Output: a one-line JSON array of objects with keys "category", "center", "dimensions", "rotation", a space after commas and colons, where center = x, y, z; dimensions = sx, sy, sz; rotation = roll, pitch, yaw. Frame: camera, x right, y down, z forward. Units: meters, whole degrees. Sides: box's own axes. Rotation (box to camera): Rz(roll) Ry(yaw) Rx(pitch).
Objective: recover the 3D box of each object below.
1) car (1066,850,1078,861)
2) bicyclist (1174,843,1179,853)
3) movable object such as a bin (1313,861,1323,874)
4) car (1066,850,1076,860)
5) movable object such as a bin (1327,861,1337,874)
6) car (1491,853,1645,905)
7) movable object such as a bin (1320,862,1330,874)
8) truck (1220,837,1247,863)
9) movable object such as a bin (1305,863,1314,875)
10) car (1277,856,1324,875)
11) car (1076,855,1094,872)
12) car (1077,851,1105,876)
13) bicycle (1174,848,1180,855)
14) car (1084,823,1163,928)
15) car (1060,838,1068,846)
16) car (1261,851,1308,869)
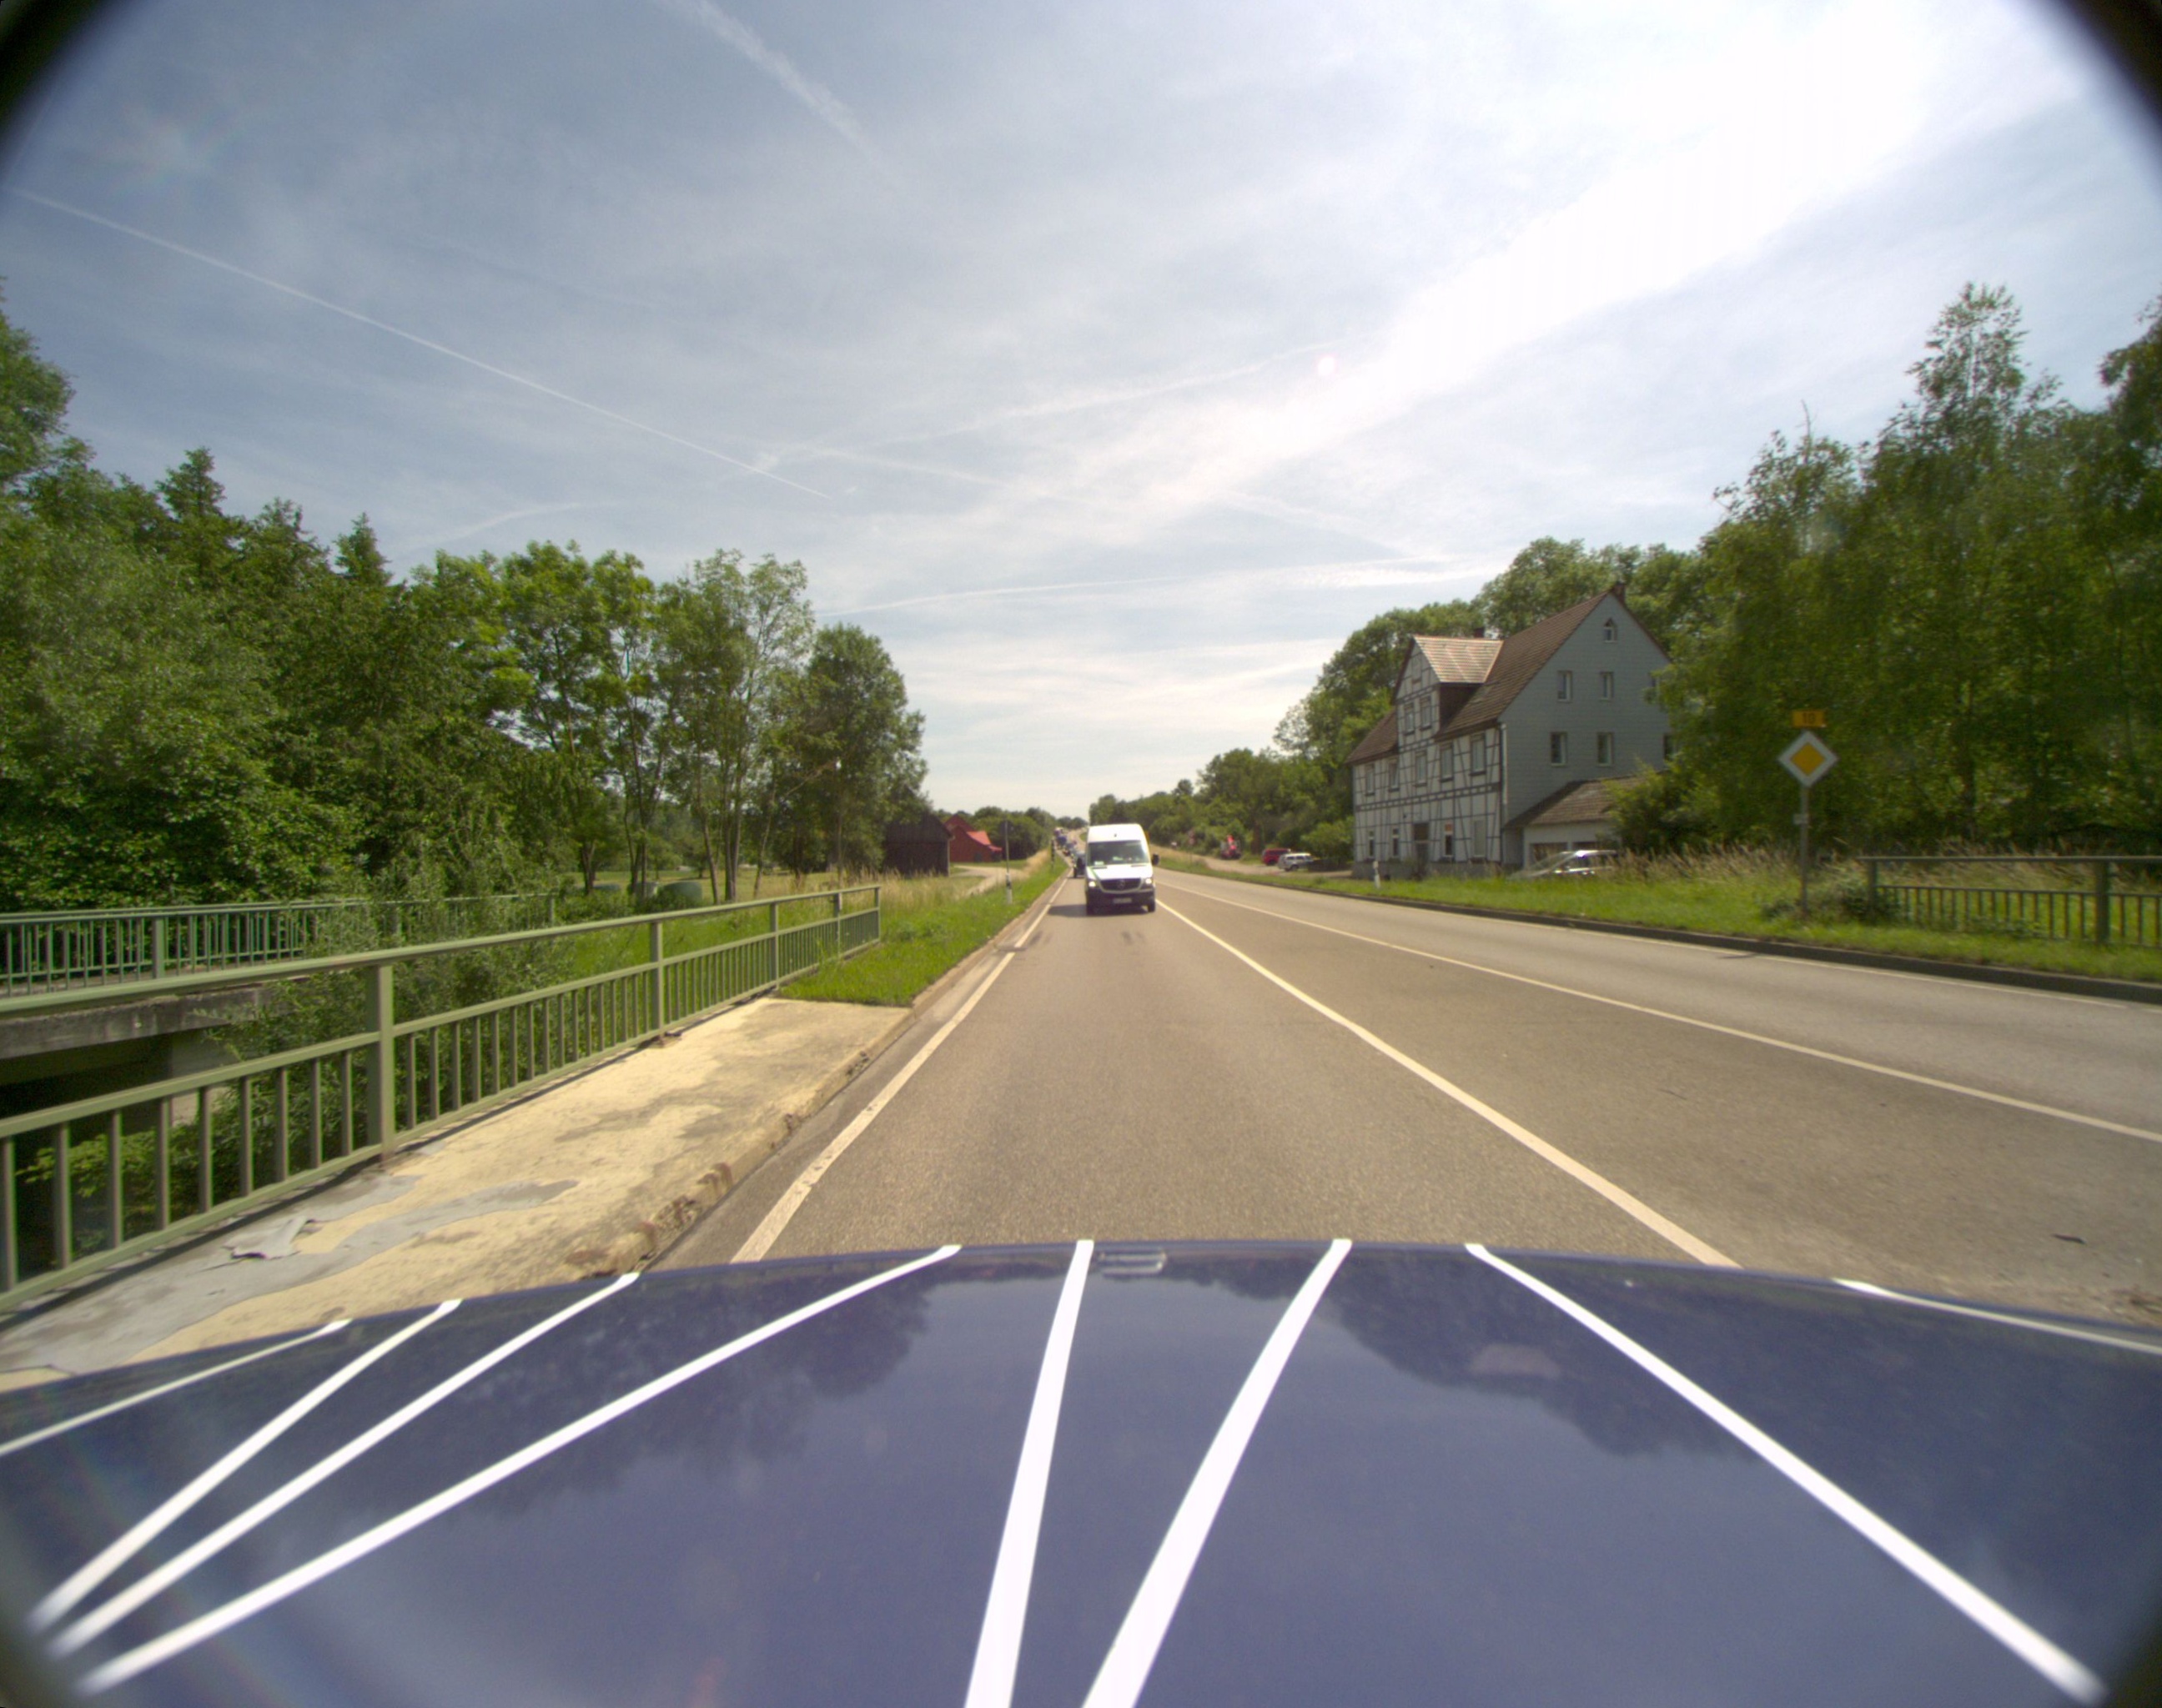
[{"category": "car", "center": [-1.562, 0.180, 126.868], "dimensions": [1.849, 1.692, 4.240], "rotation": [-1, 2, -2]}, {"category": "bicyclist", "center": [15.839, -1.021, 125.941], "dimensions": [0.750, 1.705, 0.936], "rotation": [-3, 1, 3]}, {"category": "movable object such as a bin", "center": [19.138, 1.085, 61.391], "dimensions": [0.505, 0.964, 0.654], "rotation": [-2, 2, -7]}, {"category": "car", "center": [-1.883, 0.145, 142.838], "dimensions": [1.849, 1.692, 4.240], "rotation": [-1, 2, -2]}, {"category": "movable object such as a bin", "center": [20.328, 1.097, 61.471], "dimensions": [0.505, 0.971, 0.654], "rotation": [-2, 2, -7]}, {"category": "car", "center": [18.330, 0.938, 28.723], "dimensions": [4.676, 1.710, 1.862], "rotation": [-2, -2, -4]}, {"category": "movable object such as a bin", "center": [19.709, 1.109, 61.470], "dimensions": [0.505, 0.965, 0.654], "rotation": [-2, 2, -7]}, {"category": "truck", "center": [18.967, -0.537, 94.780], "dimensions": [2.031, 2.946, 6.772], "rotation": [-3, 1, 1]}, {"category": "movable object such as a bin", "center": [18.462, 1.192, 61.364], "dimensions": [0.505, 0.931, 0.654], "rotation": [-2, 2, -7]}, {"category": "car", "center": [18.406, 0.951, 63.894], "dimensions": [3.387, 1.457, 1.609], "rotation": [-2, 1, -6]}, {"category": "car", "center": [0.451, 1.019, 84.578], "dimensions": [1.848, 1.692, 4.241], "rotation": [-1, 2, -1]}, {"category": "car", "center": [0.686, 0.675, 53.385], "dimensions": [1.848, 1.692, 4.243], "rotation": [-1, -1, 0]}, {"category": "bicycle", "center": [15.865, -0.394, 125.805], "dimensions": [0.750, 1.174, 2.105], "rotation": [-3, 1, 3]}, {"category": "car", "center": [1.106, 0.545, 22.386], "dimensions": [1.960, 2.655, 5.680], "rotation": [-2, 0, 0]}, {"category": "car", "center": [-4.894, -3.305, 214.220], "dimensions": [1.998, 2.166, 4.000], "rotation": [-2, 0, 1]}, {"category": "car", "center": [19.788, 0.558, 73.860], "dimensions": [4.037, 1.609, 1.833], "rotation": [-2, 1, 1]}]
